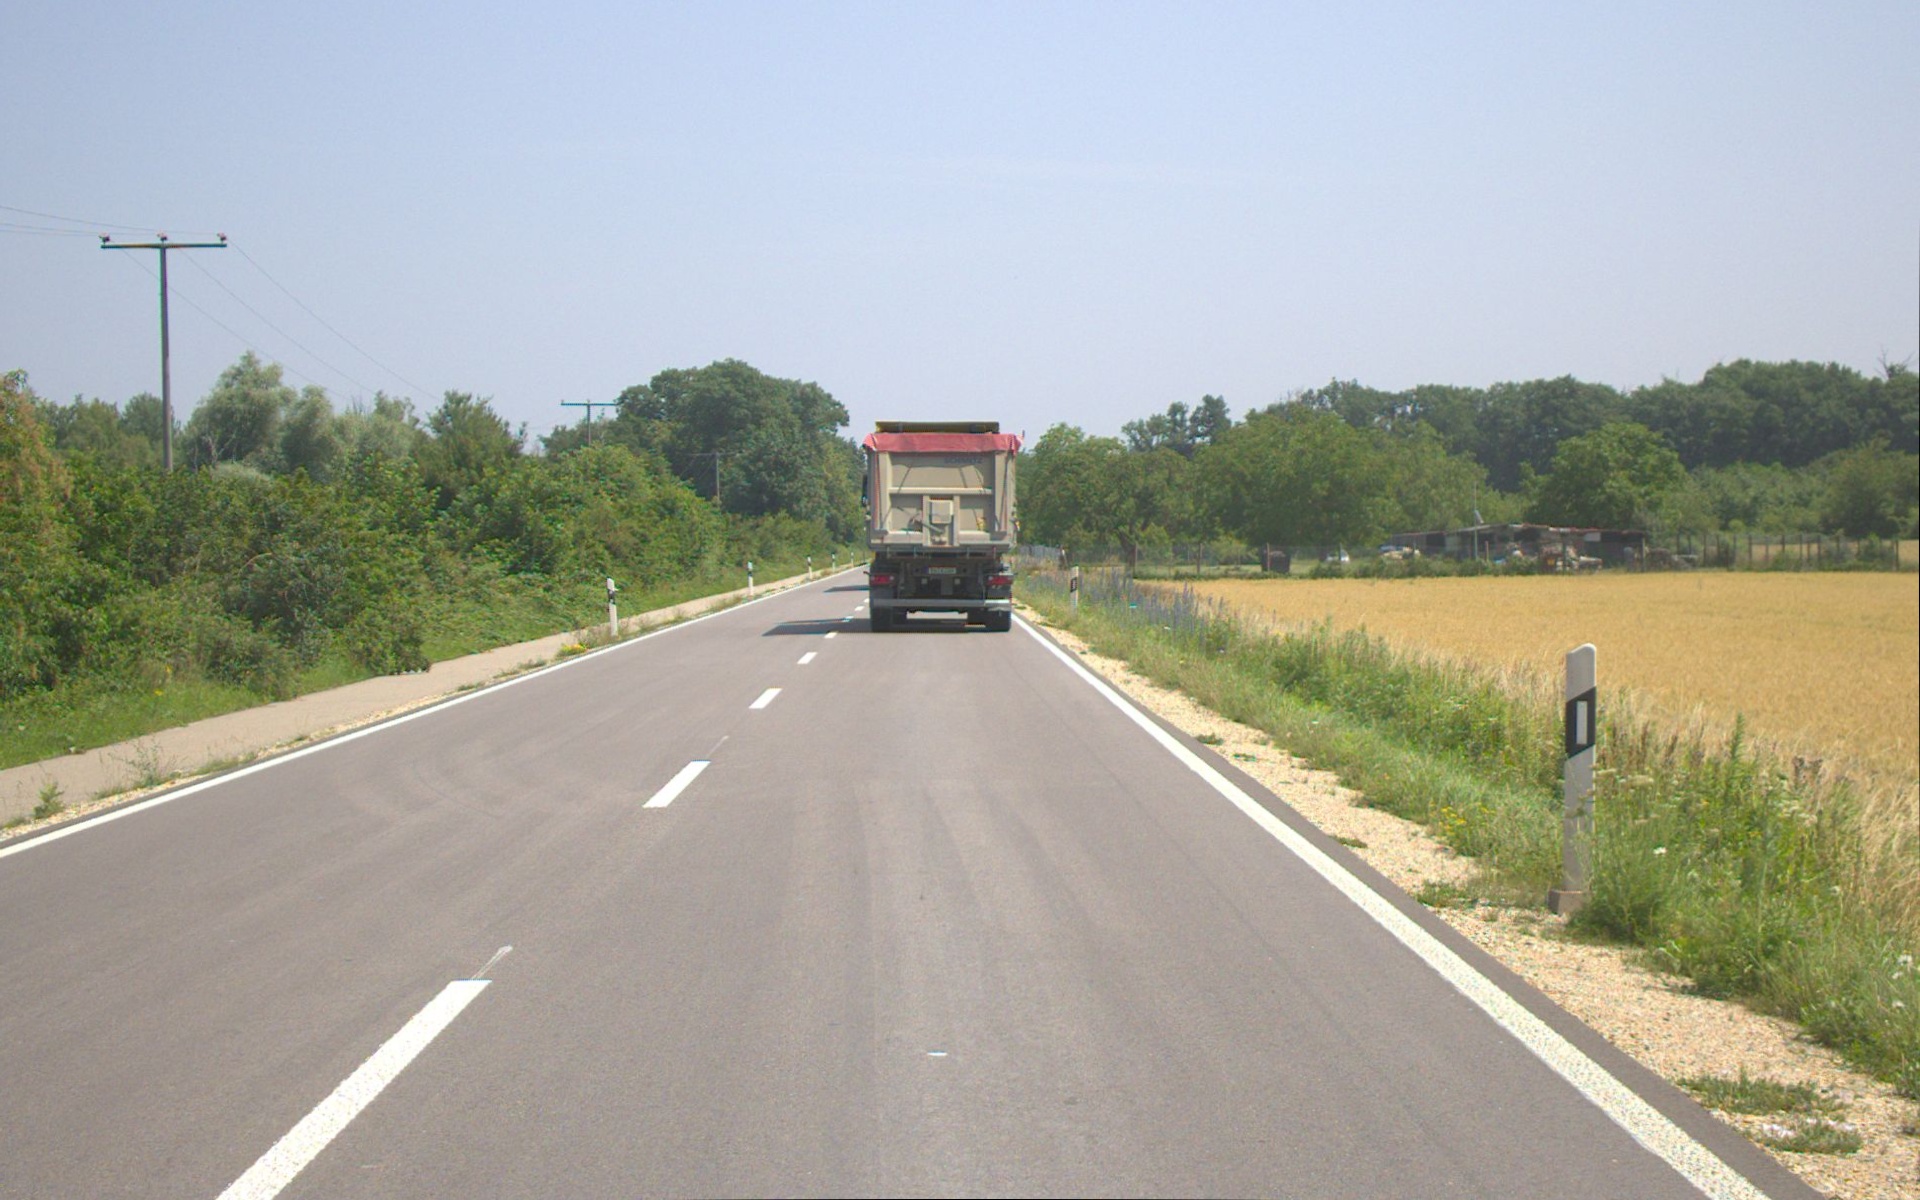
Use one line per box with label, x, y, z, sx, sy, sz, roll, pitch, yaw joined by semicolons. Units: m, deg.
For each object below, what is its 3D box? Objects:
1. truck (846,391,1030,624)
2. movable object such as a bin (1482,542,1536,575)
truck;-0.437;-1.624;63.934;3.009;3.861;12.210;1;1;-1
movable object such as a bin;25.207;-1.908;157.892;1.570;1.491;3.659;0;1;-5
